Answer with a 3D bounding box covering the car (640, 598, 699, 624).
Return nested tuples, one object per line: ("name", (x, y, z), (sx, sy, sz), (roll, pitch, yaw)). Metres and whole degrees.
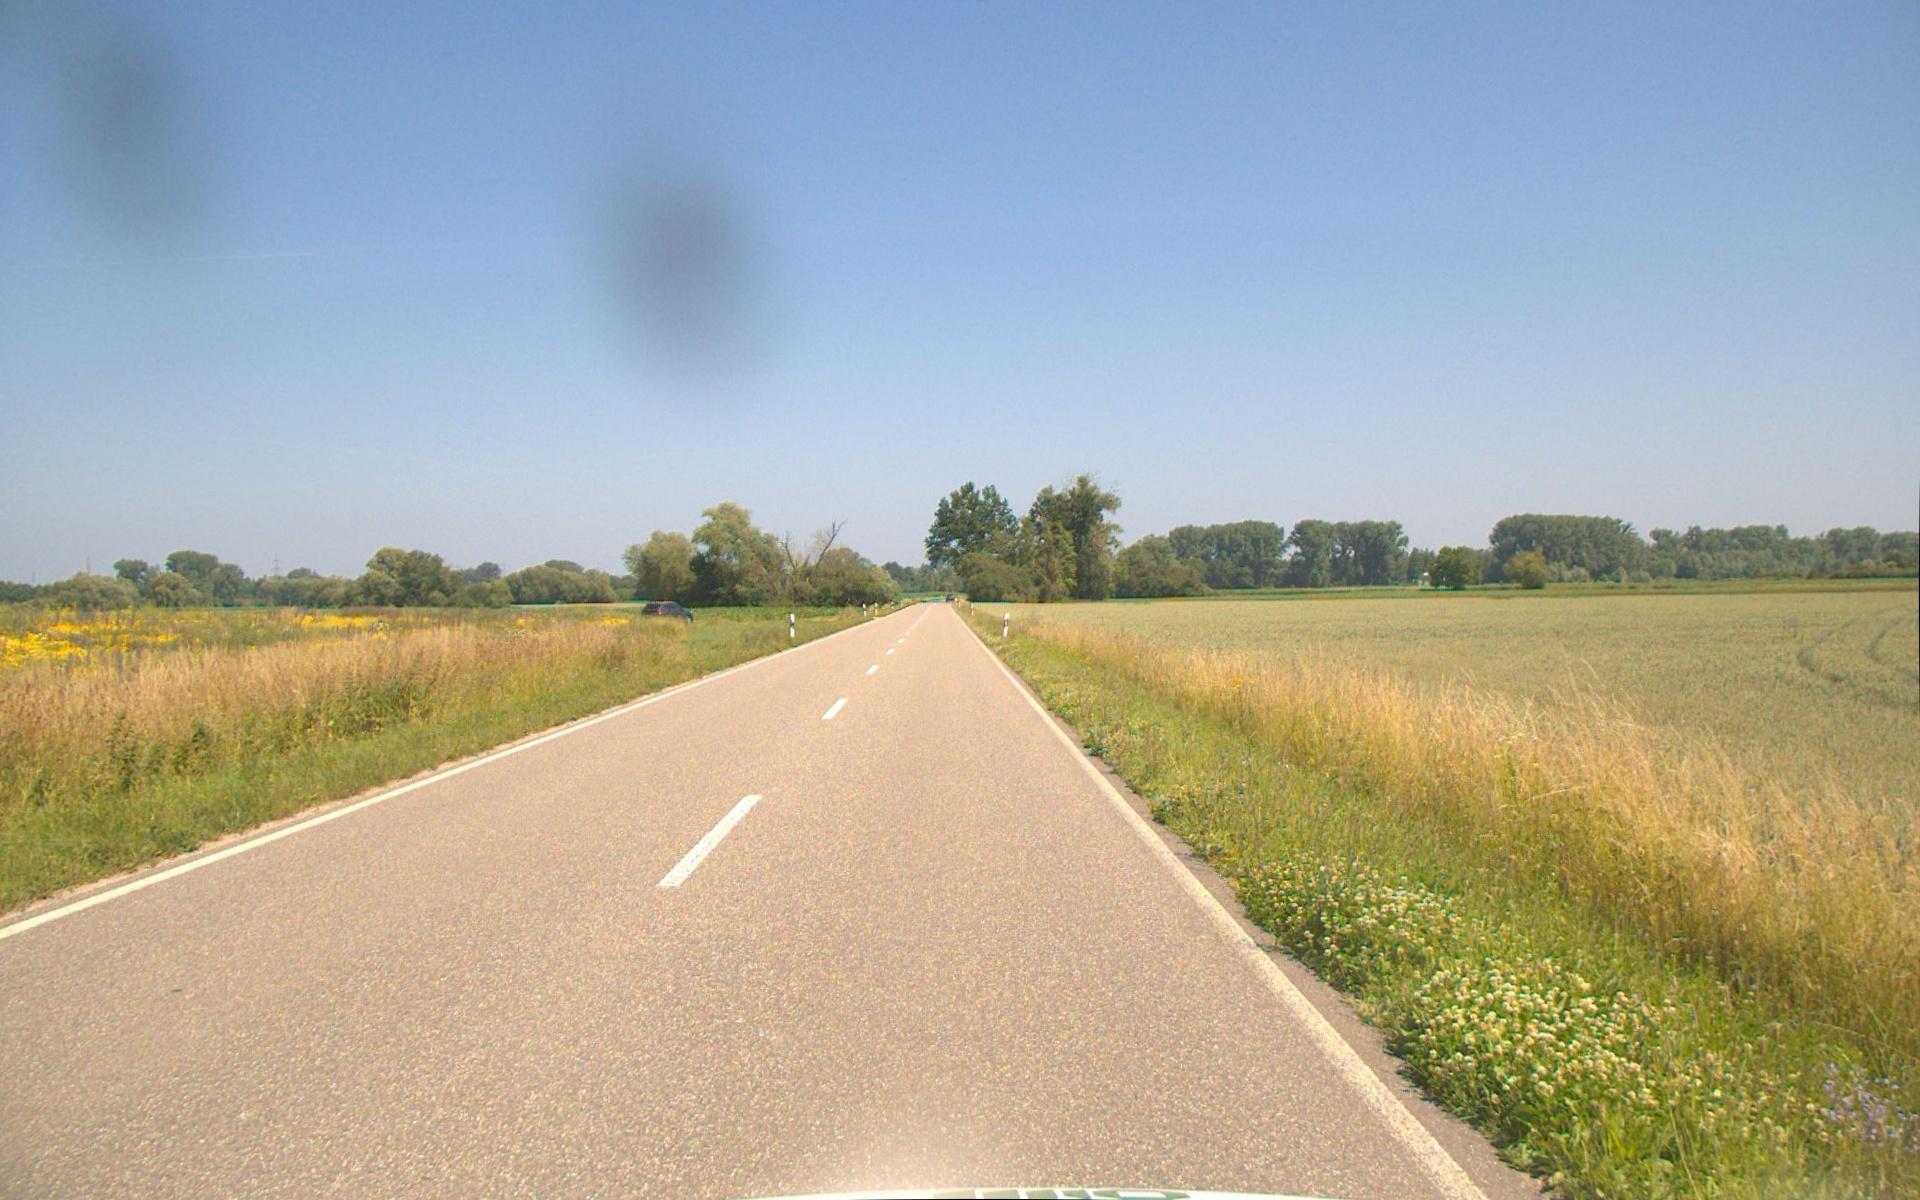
("car", (-20.188, 0.766, 115.025), (1.718, 1.680, 4.527), (-1, 0, 25))
